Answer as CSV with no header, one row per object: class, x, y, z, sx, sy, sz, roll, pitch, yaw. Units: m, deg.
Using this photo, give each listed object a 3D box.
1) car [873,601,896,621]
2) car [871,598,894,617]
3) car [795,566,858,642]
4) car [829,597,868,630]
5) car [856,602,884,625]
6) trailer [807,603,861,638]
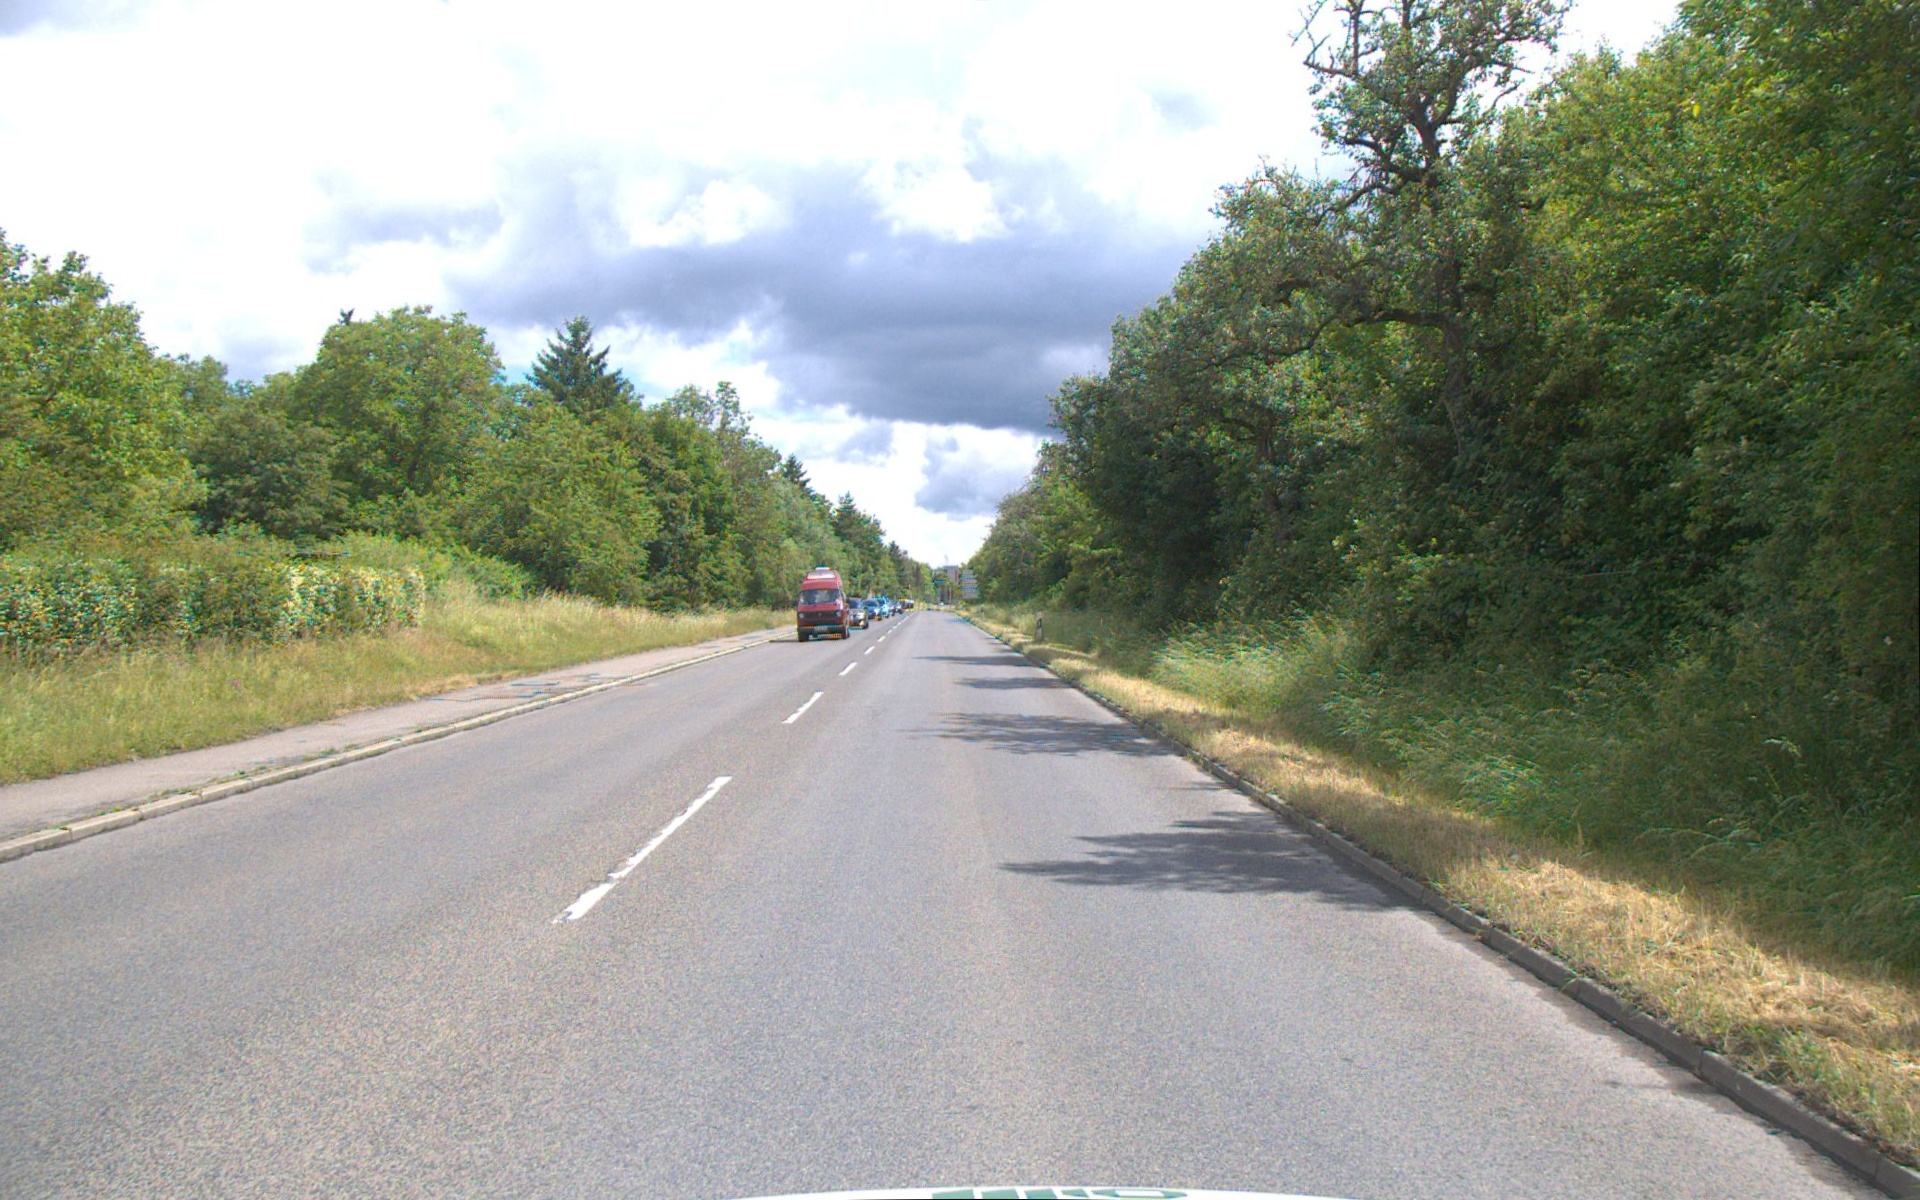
car,-5.860,0.850,128.828,1.748,1.472,2.965,-3,0,-2
car,-6.736,0.673,144.161,1.846,1.518,4.715,-3,0,-2
car,-4.872,0.135,60.826,1.929,2.594,4.723,-3,0,-1
car,-5.446,0.659,81.144,1.682,1.496,3.998,-3,0,-2
car,-6.132,0.908,113.145,1.748,1.472,4.450,-3,0,-2
trailer,-4.934,0.794,65.200,1.853,1.221,3.916,-3,0,-1
